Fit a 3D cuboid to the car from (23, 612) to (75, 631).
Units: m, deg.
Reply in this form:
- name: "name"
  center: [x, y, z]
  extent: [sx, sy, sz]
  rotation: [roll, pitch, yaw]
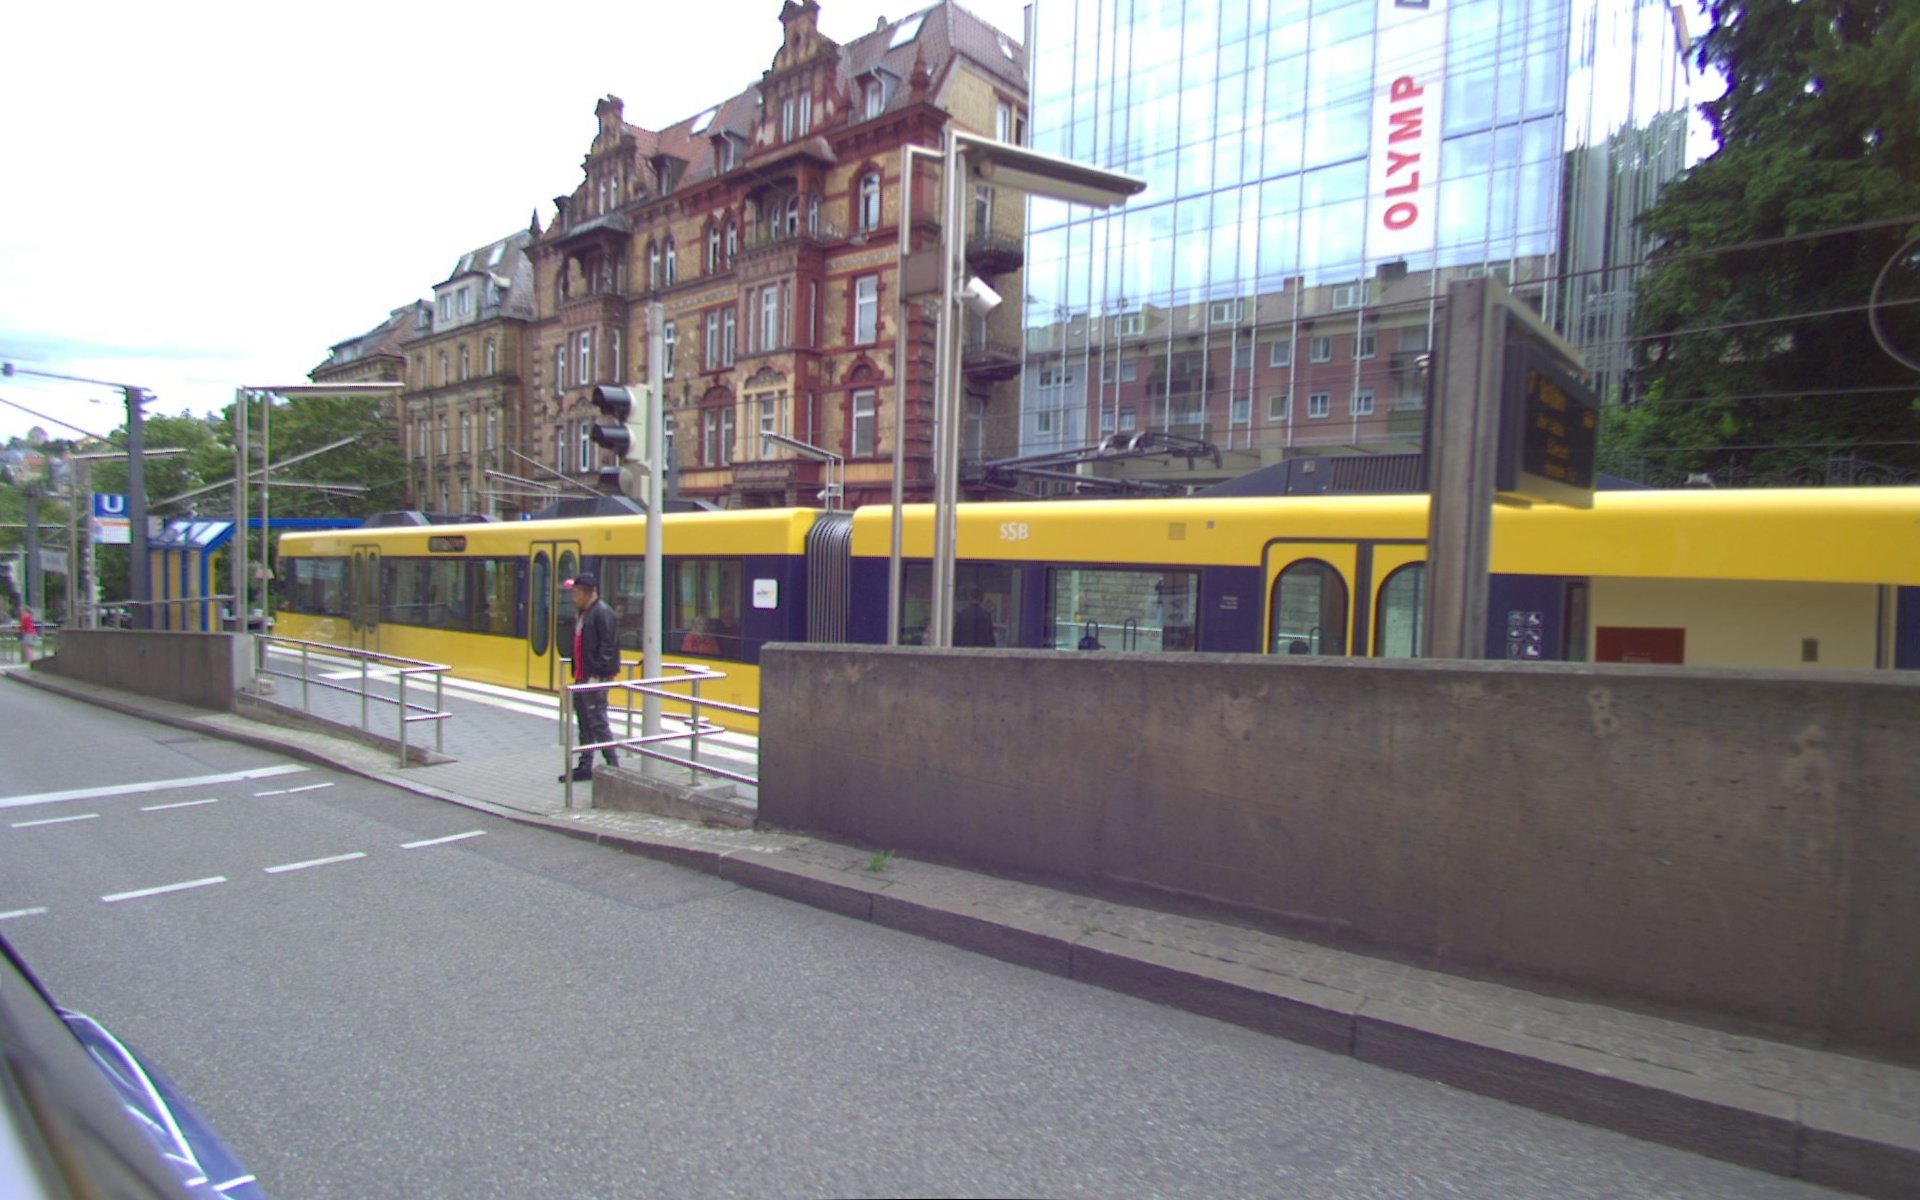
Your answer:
- name: "car"
  center: [-98.499, 2.317, 109.491]
  extent: [1.775, 1.828, 3.825]
  rotation: [-1, 0, 25]

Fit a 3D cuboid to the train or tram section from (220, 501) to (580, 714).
- name: "train or tram section"
  center: [-12.800, -0.057, 22.178]
  extent: [12.394, 3.569, 2.919]
  rotation: [2, 2, 41]

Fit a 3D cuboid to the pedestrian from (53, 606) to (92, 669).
- name: "pedestrian"
  center: [-24.362, 1.016, 27.783]
  extent: [0.658, 1.708, 0.616]
  rotation: [-1, 0, 31]

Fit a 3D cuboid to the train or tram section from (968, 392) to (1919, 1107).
- name: "train or tram section"
  center: [5.629, 0.721, 6.100]
  extent: [12.213, 3.509, 2.919]
  rotation: [2, 2, 41]

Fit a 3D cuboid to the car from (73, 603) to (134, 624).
- name: "car"
  center: [-77.081, 1.207, 91.103]
  extent: [1.770, 1.828, 3.836]
  rotation: [-1, 0, 17]

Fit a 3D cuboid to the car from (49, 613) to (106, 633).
- name: "car"
  center: [-87.632, 2.255, 100.524]
  extent: [1.775, 1.828, 3.825]
  rotation: [-1, 0, 25]

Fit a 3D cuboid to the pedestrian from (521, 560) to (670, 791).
- name: "pedestrian"
  center: [-3.019, 0.586, 8.395]
  extent: [0.800, 1.790, 0.809]
  rotation: [-1, 0, 34]

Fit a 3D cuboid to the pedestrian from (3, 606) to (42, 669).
- name: "pedestrian"
  center: [-26.163, 1.033, 28.243]
  extent: [0.684, 1.693, 0.671]
  rotation: [-1, 0, 38]

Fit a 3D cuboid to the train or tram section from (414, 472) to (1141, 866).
- name: "train or tram section"
  center: [-3.597, 0.345, 14.075]
  extent: [12.214, 3.497, 2.919]
  rotation: [3, 3, 41]

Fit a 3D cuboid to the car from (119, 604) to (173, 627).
- name: "car"
  center: [-66.860, 1.267, 83.159]
  extent: [1.756, 1.700, 3.865]
  rotation: [-1, 1, -9]

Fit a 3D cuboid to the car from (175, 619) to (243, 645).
- name: "car"
  center: [-54.617, 2.306, 73.643]
  extent: [1.764, 1.700, 3.848]
  rotation: [-1, 1, 9]
